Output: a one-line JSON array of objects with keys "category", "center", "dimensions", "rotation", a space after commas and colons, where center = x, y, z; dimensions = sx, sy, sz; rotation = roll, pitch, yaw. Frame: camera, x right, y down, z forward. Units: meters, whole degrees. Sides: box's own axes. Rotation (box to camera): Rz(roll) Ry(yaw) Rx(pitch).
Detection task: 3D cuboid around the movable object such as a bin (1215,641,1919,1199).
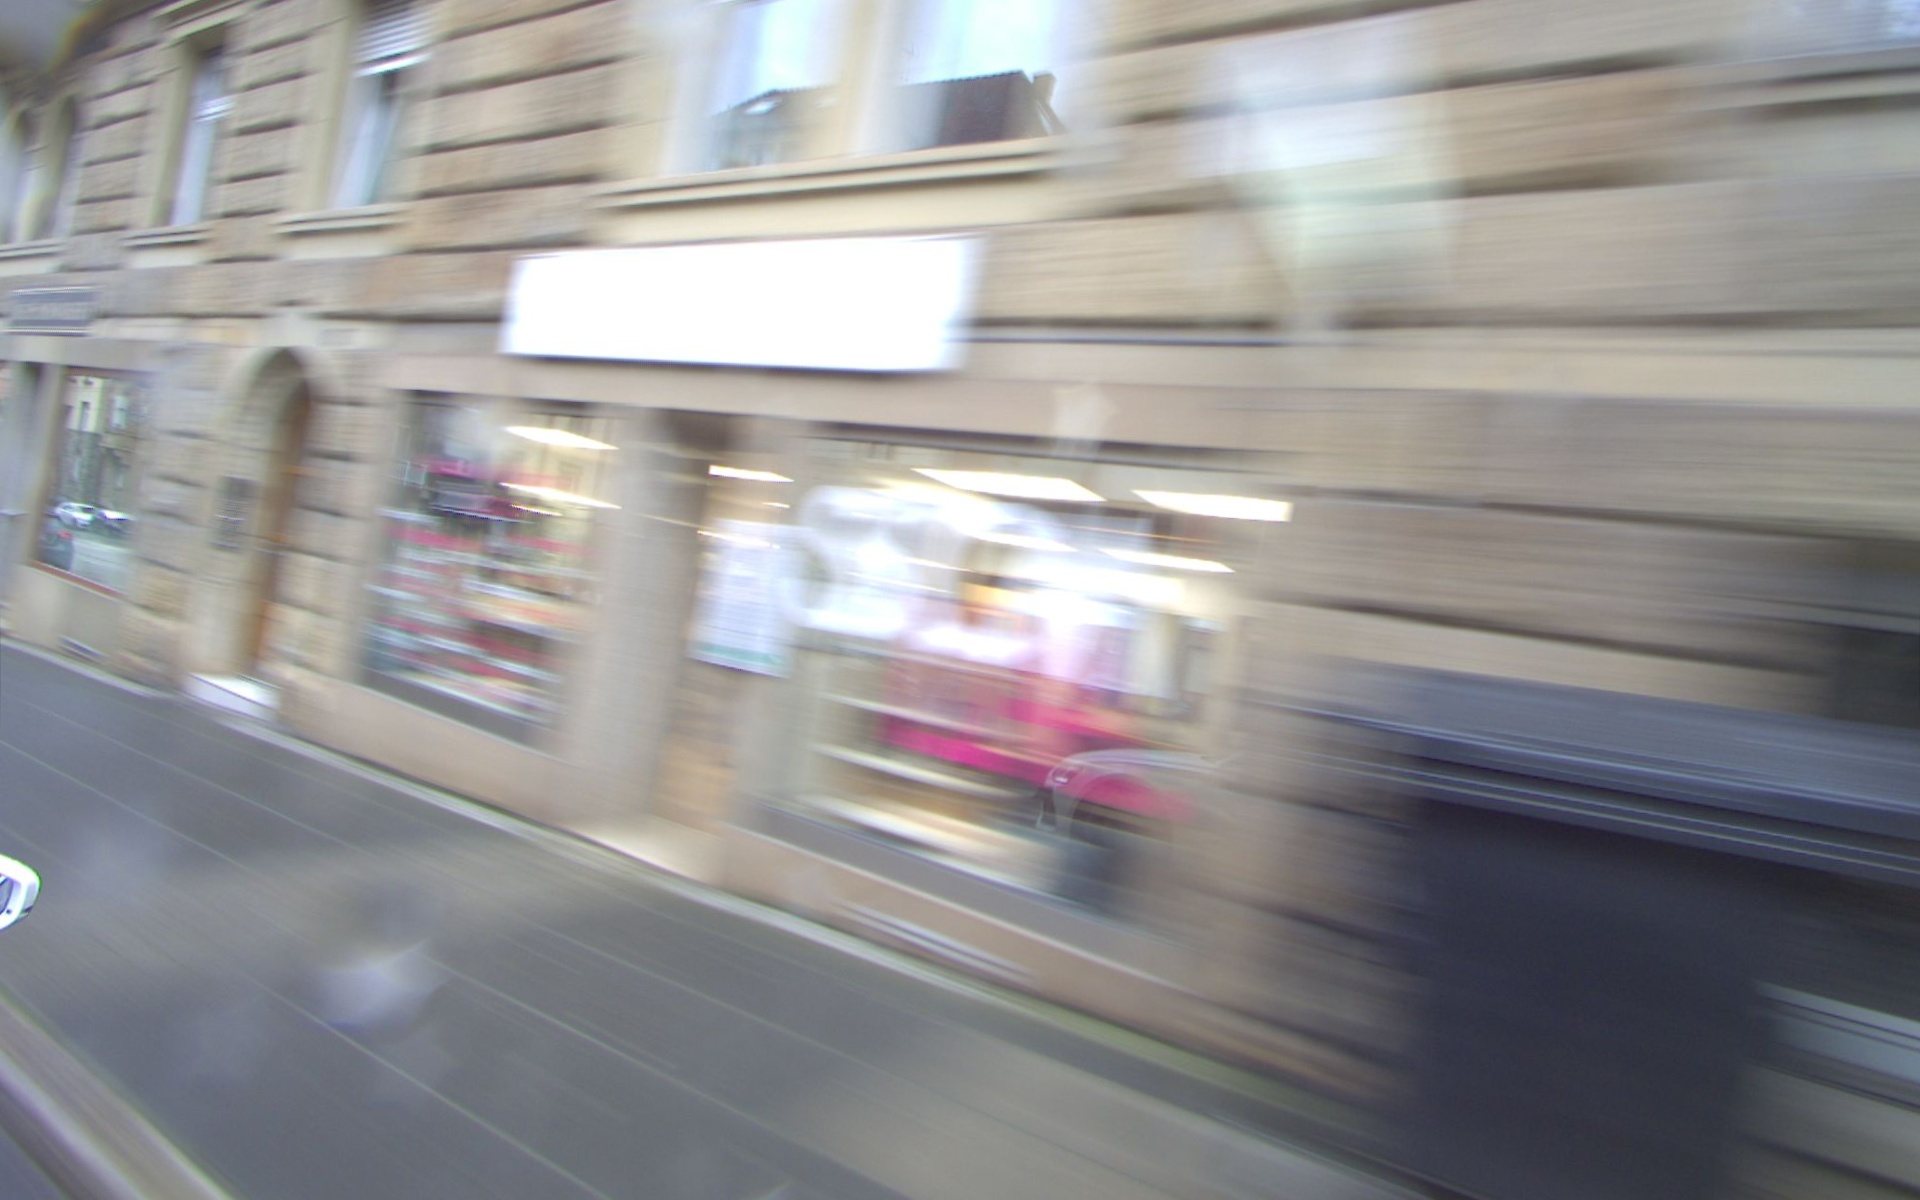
[{"category": "movable object such as a bin", "center": [1.535, 0.935, 2.516], "dimensions": [1.370, 1.469, 1.010], "rotation": [7, 1, 31]}]
